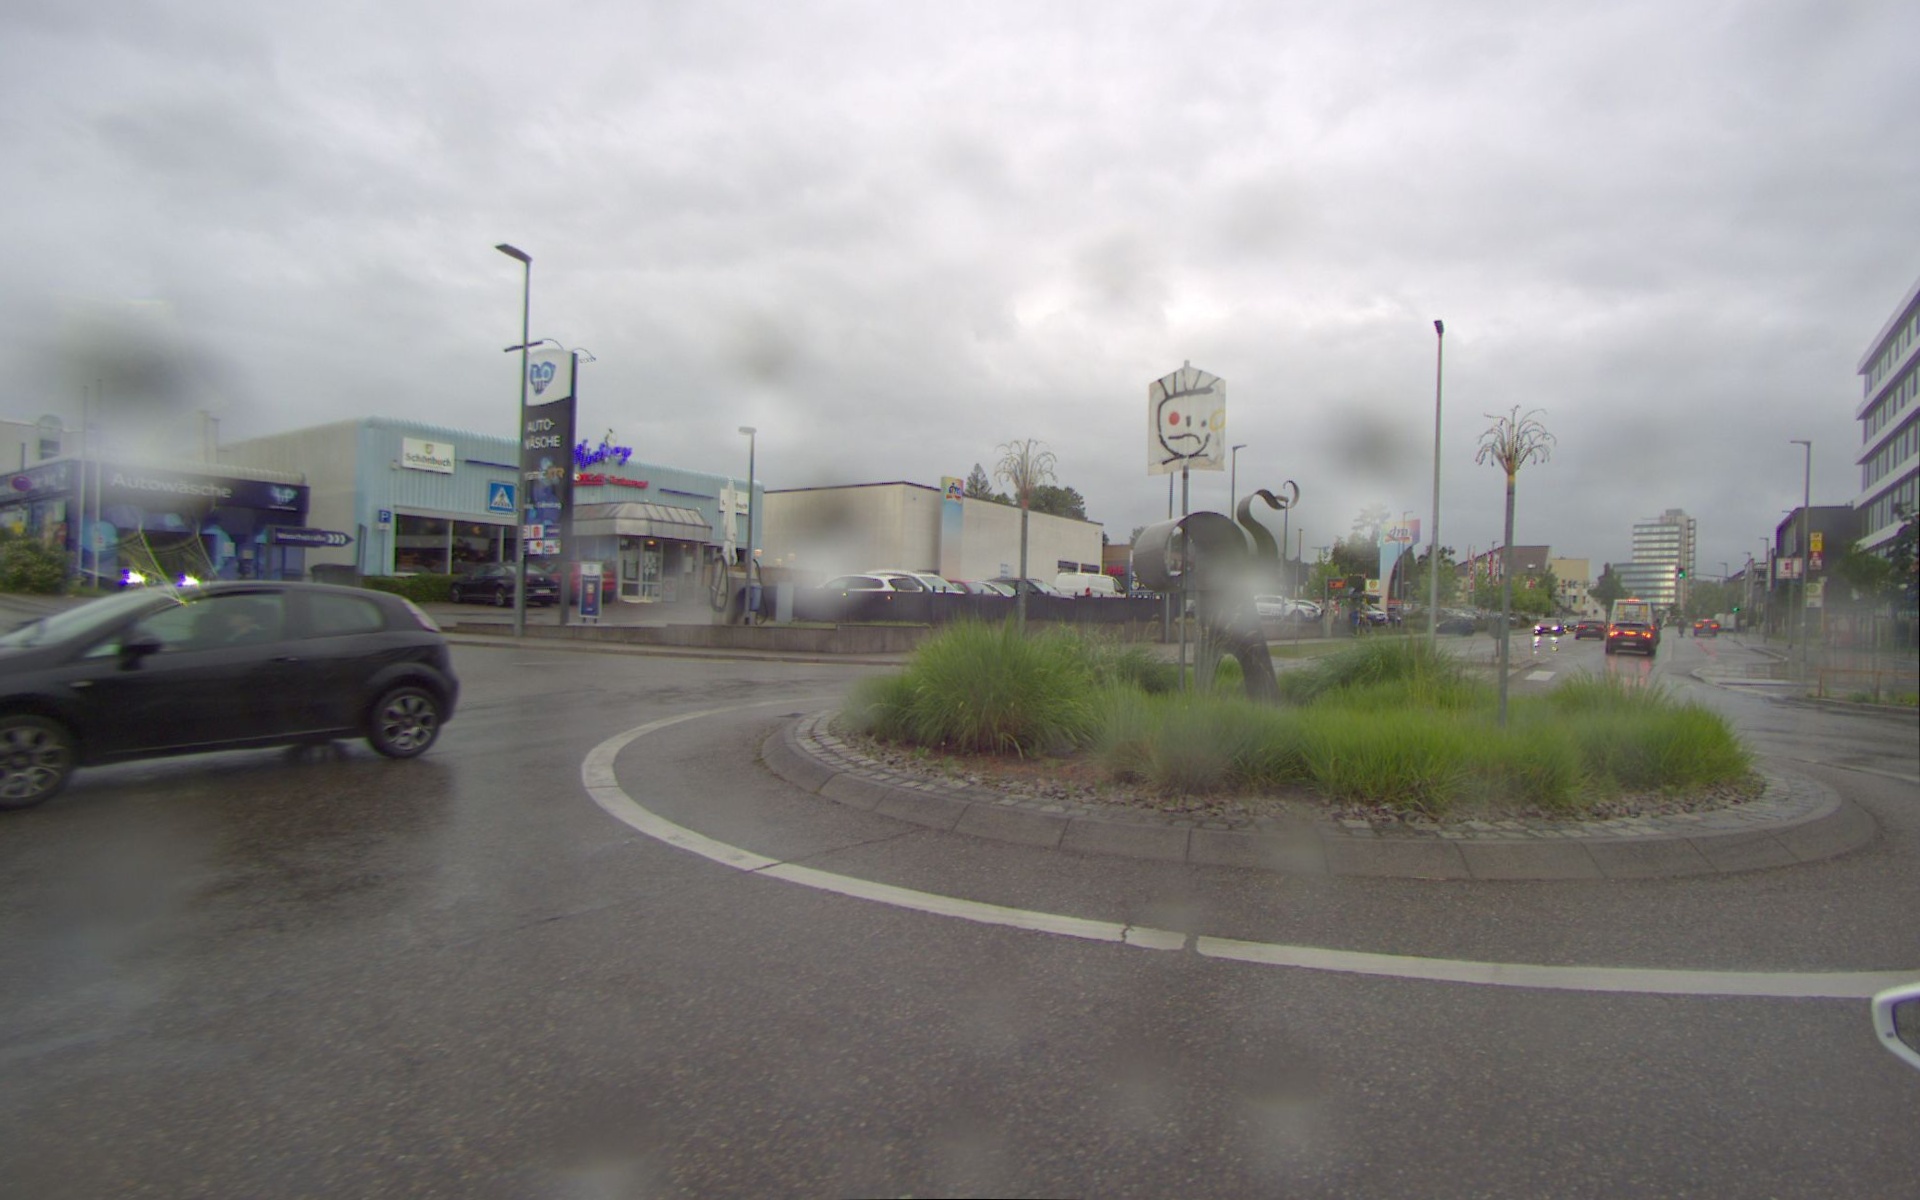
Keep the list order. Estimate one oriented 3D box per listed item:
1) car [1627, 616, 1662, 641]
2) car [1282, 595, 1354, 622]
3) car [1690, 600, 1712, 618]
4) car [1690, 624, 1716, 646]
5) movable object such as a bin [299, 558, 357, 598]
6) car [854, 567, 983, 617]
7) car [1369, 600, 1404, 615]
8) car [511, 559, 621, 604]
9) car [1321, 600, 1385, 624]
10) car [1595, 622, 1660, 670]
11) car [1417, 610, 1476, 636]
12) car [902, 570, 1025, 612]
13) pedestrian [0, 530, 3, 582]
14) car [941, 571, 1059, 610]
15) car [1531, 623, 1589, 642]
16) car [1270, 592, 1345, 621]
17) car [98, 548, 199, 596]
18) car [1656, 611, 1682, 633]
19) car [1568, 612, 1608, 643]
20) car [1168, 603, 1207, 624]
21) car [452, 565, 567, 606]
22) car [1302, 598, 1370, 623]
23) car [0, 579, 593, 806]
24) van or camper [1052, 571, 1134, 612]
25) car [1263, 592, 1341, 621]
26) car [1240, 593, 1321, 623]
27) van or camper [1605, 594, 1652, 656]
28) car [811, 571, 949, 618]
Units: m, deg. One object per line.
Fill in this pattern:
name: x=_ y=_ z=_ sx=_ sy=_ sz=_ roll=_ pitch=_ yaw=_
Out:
car: x=49.580 y=2.019 z=72.726 sx=1.967 sy=1.639 sz=3.987 roll=2 pitch=1 yaw=35
car: x=22.308 y=0.540 z=62.639 sx=3.931 sy=1.573 sz=1.790 roll=1 pitch=0 yaw=33
car: x=90.299 y=1.112 z=122.431 sx=1.968 sy=1.885 sz=3.984 roll=5 pitch=4 yaw=37
car: x=75.374 y=3.512 z=101.844 sx=1.968 sy=1.885 sz=3.984 roll=5 pitch=4 yaw=37
movable object such as a bin: x=-21.373 y=-0.751 z=33.983 sx=1.455 sy=1.313 sz=1.210 roll=2 pitch=3 yaw=36
car: x=-1.391 y=-0.274 z=33.069 sx=3.931 sy=1.573 sz=1.790 roll=1 pitch=0 yaw=33
car: x=56.709 y=0.993 z=133.627 sx=3.933 sy=1.673 sz=1.993 roll=5 pitch=4 yaw=35
car: x=-14.258 y=-0.706 z=36.290 sx=3.935 sy=1.506 sz=1.881 roll=2 pitch=3 yaw=37
car: x=27.843 y=0.829 z=71.236 sx=3.931 sy=1.573 sz=1.790 roll=1 pitch=0 yaw=33
car: x=29.304 y=1.961 z=44.060 sx=1.969 sy=1.751 sz=3.981 roll=2 pitch=3 yaw=39
car: x=40.029 y=1.872 z=82.707 sx=3.919 sy=1.751 sz=2.001 roll=3 pitch=4 yaw=11
car: x=0.088 y=-0.351 z=34.775 sx=3.935 sy=1.313 sz=1.881 roll=2 pitch=3 yaw=37
pedestrian: x=-27.858 y=-1.271 z=28.808 sx=0.538 sy=1.484 sz=0.466 roll=5 pitch=4 yaw=35
car: x=1.442 y=-0.395 z=36.608 sx=3.935 sy=1.313 sz=1.881 roll=2 pitch=3 yaw=37
car: x=49.858 y=2.720 z=83.484 sx=3.936 sy=1.417 sz=1.992 roll=1 pitch=0 yaw=-18
car: x=20.825 y=0.378 z=60.195 sx=3.931 sy=1.573 sz=1.790 roll=1 pitch=0 yaw=33
car: x=-27.908 y=-0.943 z=34.512 sx=3.938 sy=1.550 sz=1.913 roll=1 pitch=2 yaw=39
car: x=71.740 y=2.162 z=101.667 sx=1.969 sy=2.041 sz=3.983 roll=1 pitch=2 yaw=38
car: x=44.930 y=1.952 z=71.802 sx=1.968 sy=1.885 sz=3.984 roll=5 pitch=4 yaw=37
car: x=15.669 y=0.926 z=69.143 sx=1.564 sy=1.371 sz=3.513 roll=1 pitch=0 yaw=31
car: x=-15.321 y=-0.528 z=34.094 sx=3.935 sy=1.313 sz=1.881 roll=2 pitch=3 yaw=37
car: x=25.090 y=0.674 z=66.978 sx=3.931 sy=1.573 sz=1.790 roll=1 pitch=0 yaw=33
car: x=-5.892 y=0.581 z=8.215 sx=1.966 sy=1.401 sz=5.329 roll=2 pitch=0 yaw=33
van or camper: x=6.126 y=-0.433 z=46.036 sx=1.857 sy=1.785 sz=4.365 roll=2 pitch=3 yaw=36
car: x=19.876 y=0.373 z=58.438 sx=3.931 sy=1.573 sz=1.790 roll=1 pitch=0 yaw=33
car: x=17.853 y=0.444 z=55.922 sx=3.931 sy=1.573 sz=1.847 roll=1 pitch=0 yaw=33
van or camper: x=35.865 y=1.249 z=53.970 sx=1.966 sy=3.130 sz=5.087 roll=1 pitch=1 yaw=33
car: x=-2.468 y=-0.211 z=30.507 sx=3.935 sy=1.313 sz=1.881 roll=2 pitch=3 yaw=37
